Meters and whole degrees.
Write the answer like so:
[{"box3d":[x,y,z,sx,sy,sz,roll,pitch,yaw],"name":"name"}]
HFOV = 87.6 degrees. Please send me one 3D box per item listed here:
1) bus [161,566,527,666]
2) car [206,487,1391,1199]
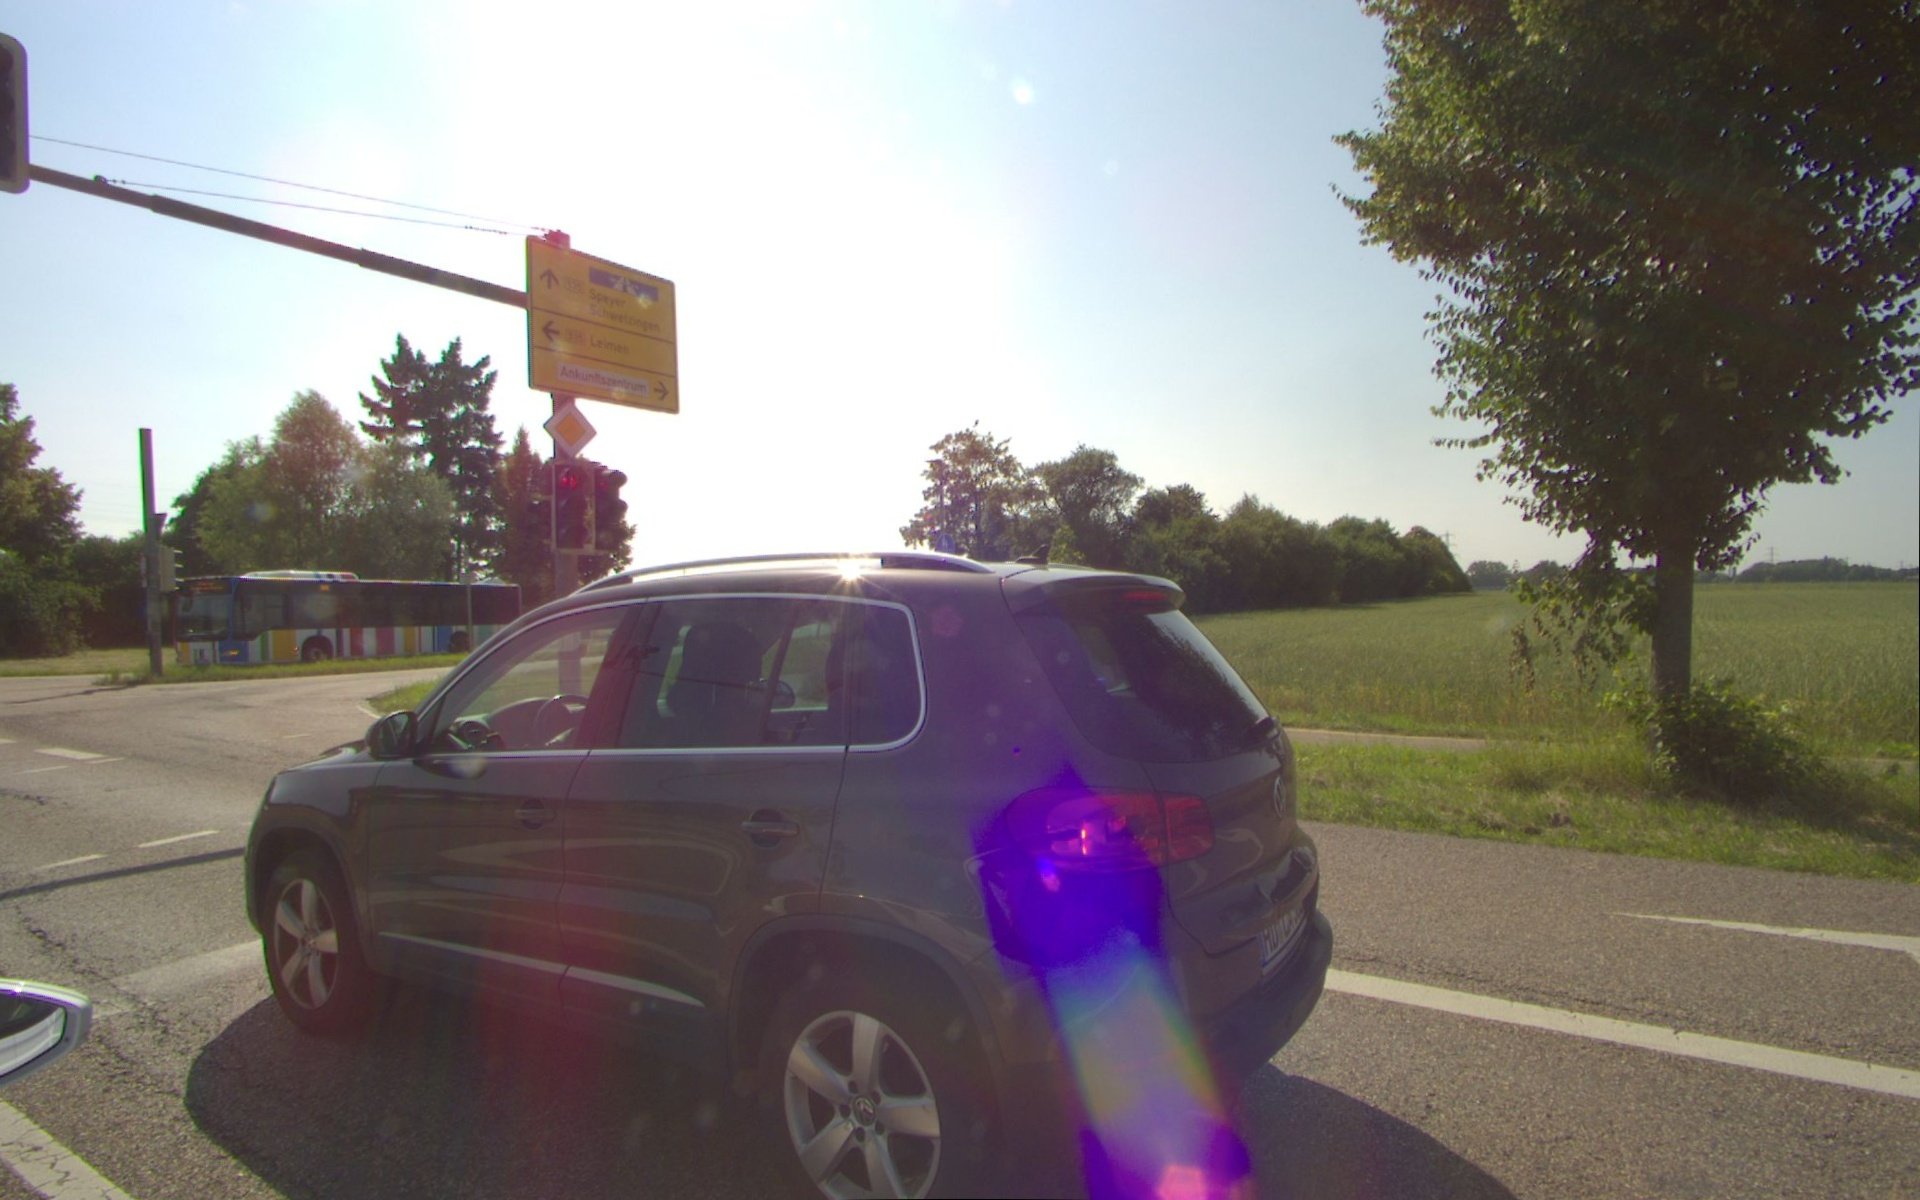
[{"box3d":[-20.649,0.417,35.163,2.889,2.916,11.955,-1,0,17],"name":"bus"},{"box3d":[-0.773,0.692,3.613,4.086,1.677,1.753,-1,-2,32],"name":"car"}]
